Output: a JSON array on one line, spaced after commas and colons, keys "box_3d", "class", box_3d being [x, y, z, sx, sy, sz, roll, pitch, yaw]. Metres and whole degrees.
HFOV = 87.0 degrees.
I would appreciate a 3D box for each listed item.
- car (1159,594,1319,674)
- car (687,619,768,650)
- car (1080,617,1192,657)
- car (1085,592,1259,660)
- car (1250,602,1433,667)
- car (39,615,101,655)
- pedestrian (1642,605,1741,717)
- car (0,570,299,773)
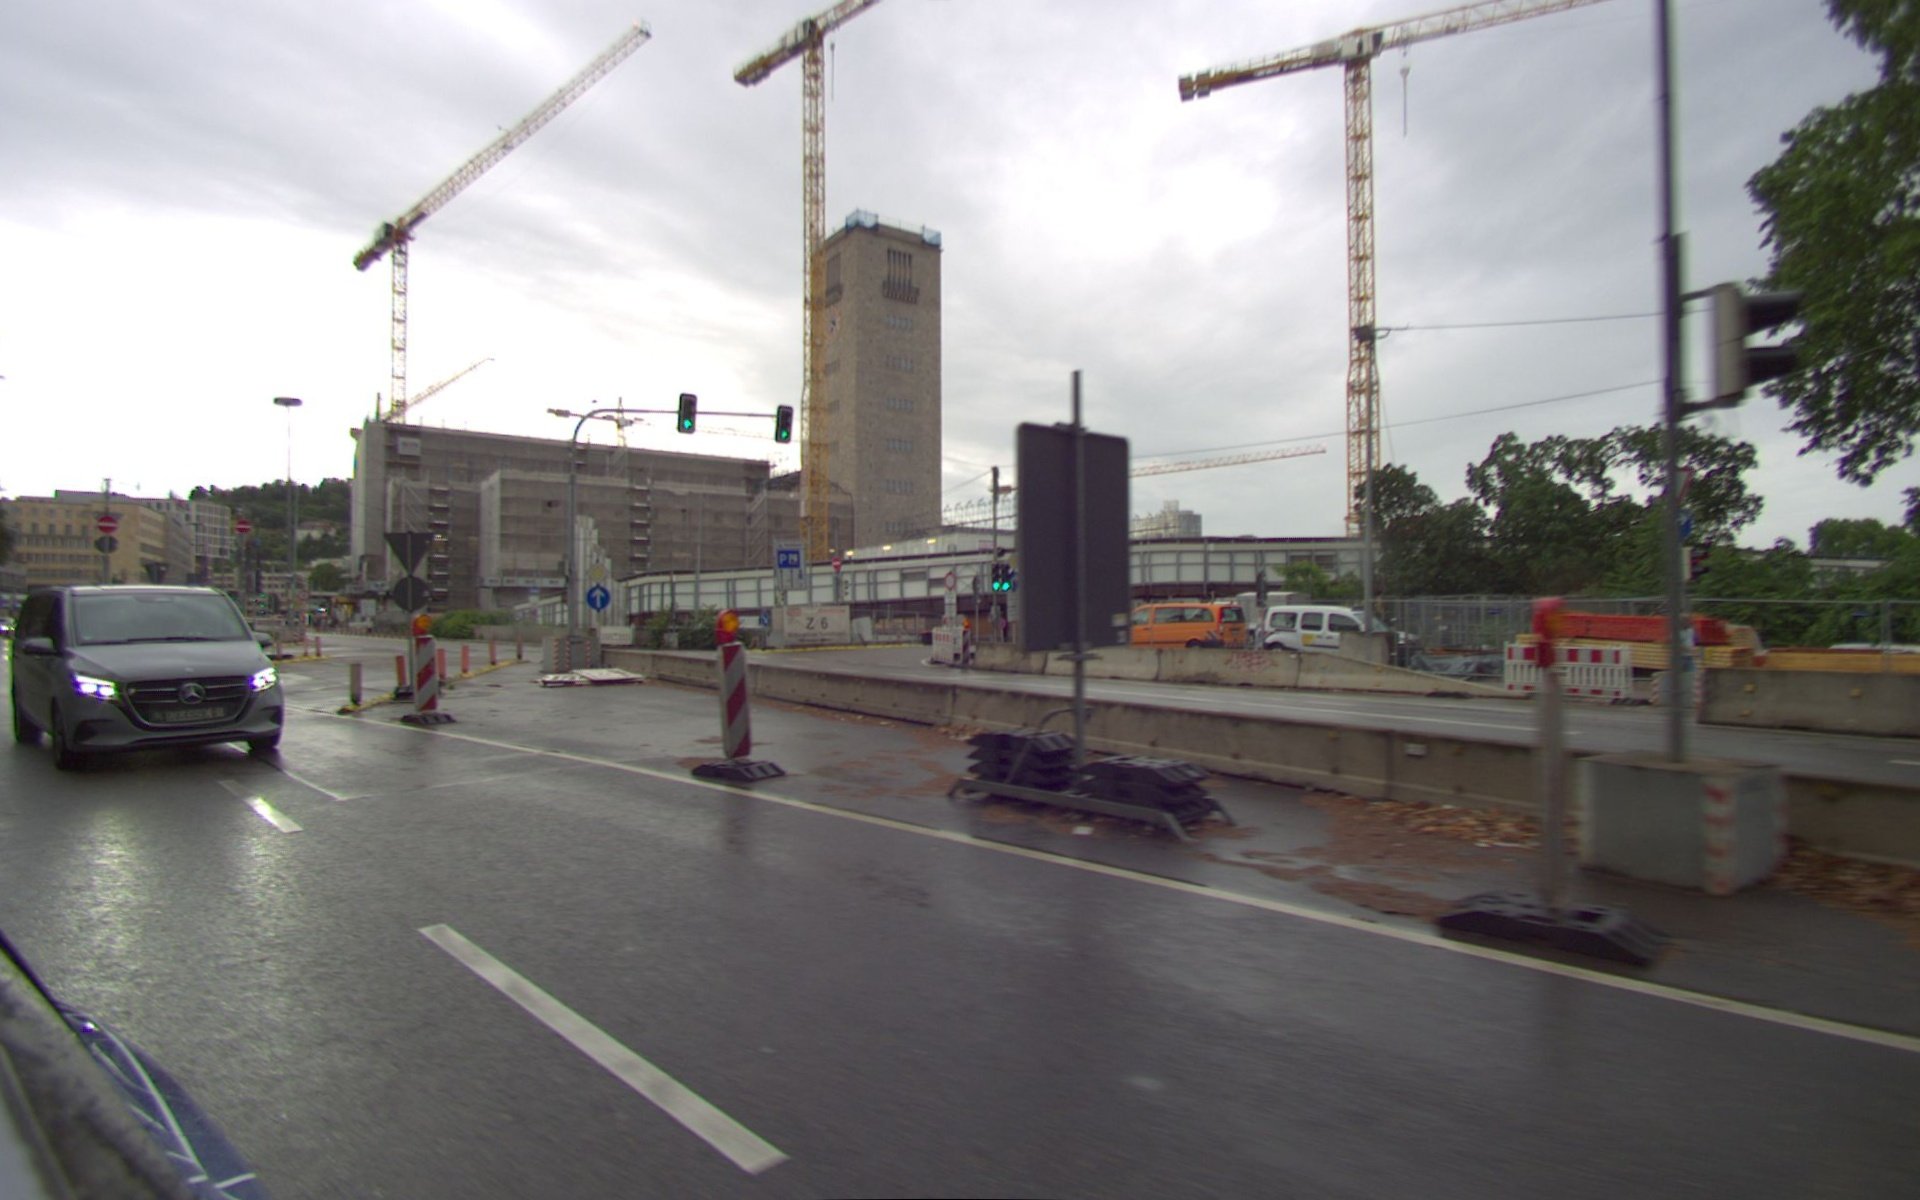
[{"box_3d": [11.523, 1.387, 42.247, 2.247, 3.089, 6.174, 3, -2, -44], "class": "car"}, {"box_3d": [-15.715, 2.342, 68.450, 4.973, 2.029, 1.993, 0, -2, 12], "class": "car"}, {"box_3d": [6.646, 1.386, 38.394, 3.826, 1.426, 1.742, 0, -2, 36], "class": "car"}, {"box_3d": [7.101, 0.882, 34.366, 5.584, 2.117, 1.971, -1, -4, 44], "class": "car"}, {"box_3d": [11.260, 0.991, 30.122, 1.823, 1.775, 4.802, 2, -2, -43], "class": "car"}, {"box_3d": [-40.908, 1.610, 46.612, 1.786, 1.474, 4.927, 14, -10, -39], "class": "car"}, {"box_3d": [13.825, 1.117, 19.136, 1.154, 2.029, 1.186, 0, -1, -35], "class": "pedestrian"}, {"box_3d": [-9.720, 0.733, 11.864, 5.355, 1.870, 1.973, -2, -2, 42], "class": "car"}]
